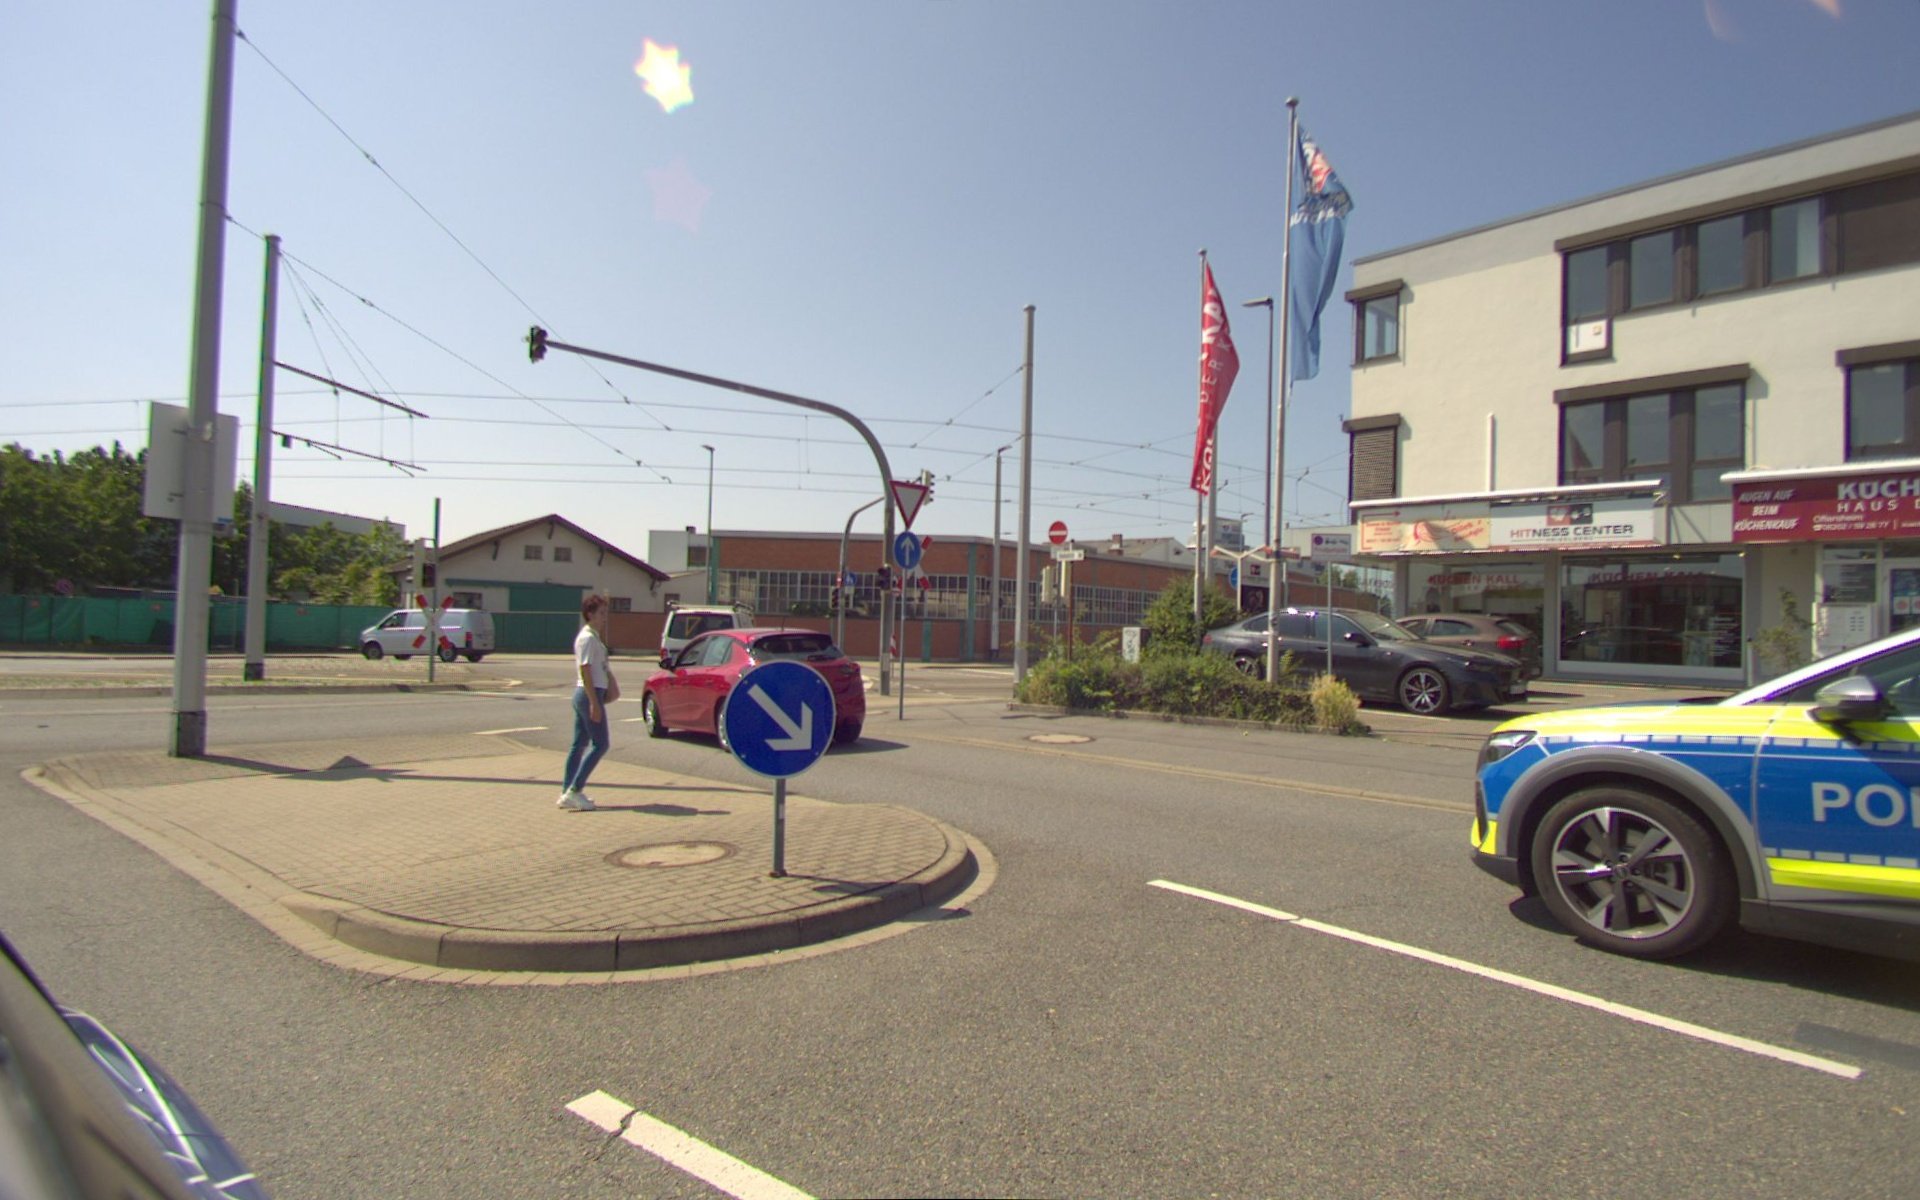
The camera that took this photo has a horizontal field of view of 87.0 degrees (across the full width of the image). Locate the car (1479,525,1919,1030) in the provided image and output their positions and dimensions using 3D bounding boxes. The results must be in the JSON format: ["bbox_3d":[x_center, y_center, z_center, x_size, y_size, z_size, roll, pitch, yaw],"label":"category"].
[{"bbox_3d":[4.520,0.643,3.625,1.868,1.772,4.362,3,-3,-38],"label":"car"}]

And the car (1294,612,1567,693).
[{"bbox_3d":[9.077,0.992,19.850,1.883,1.399,4.492,3,-3,-40],"label":"car"}]

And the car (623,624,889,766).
[{"bbox_3d":[-2.766,1.077,13.007,1.740,1.465,4.118,-1,-1,-37],"label":"car"}]

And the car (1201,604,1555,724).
[{"bbox_3d":[6.346,0.938,15.886,1.883,1.585,4.825,3,-3,-40],"label":"car"}]

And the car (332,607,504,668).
[{"bbox_3d":[-20.369,1.387,38.139,5.470,2.149,2.206,1,-1,10],"label":"car"}]

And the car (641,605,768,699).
[{"bbox_3d":[-5.800,1.191,23.542,1.968,1.962,4.438,1,-3,-2],"label":"car"}]

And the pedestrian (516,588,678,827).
[{"bbox_3d":[-2.810,0.792,7.823,0.980,1.698,0.801,3,-3,-32],"label":"pedestrian"}]
